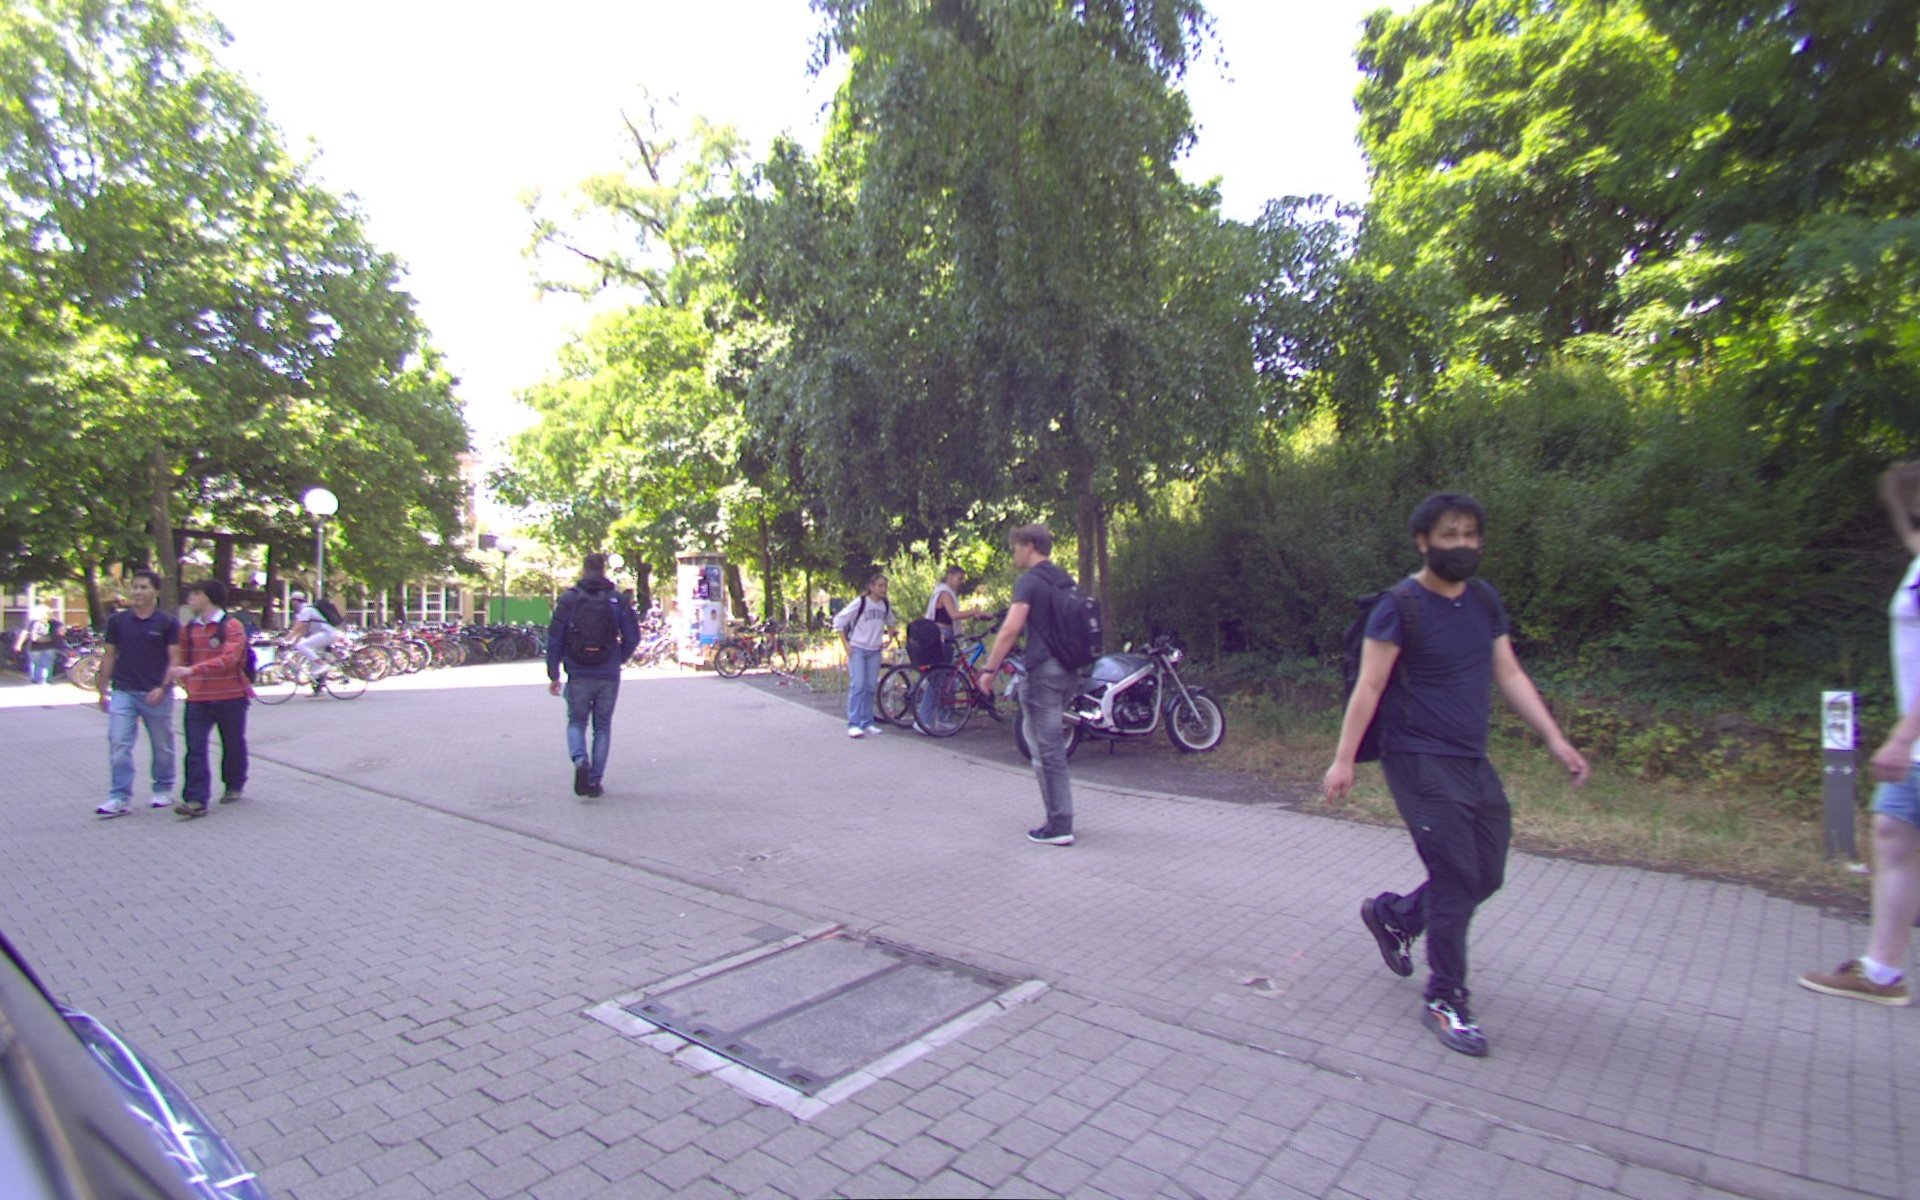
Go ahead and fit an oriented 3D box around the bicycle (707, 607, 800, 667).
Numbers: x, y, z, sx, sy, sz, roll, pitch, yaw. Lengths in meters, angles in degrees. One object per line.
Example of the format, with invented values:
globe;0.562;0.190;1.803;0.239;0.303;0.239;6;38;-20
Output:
bicycle;-4.117;0.727;20.191;1.747;1.118;0.475;-1;0;-20

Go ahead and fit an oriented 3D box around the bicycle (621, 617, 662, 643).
bicycle;-13.704;1.302;43.549;1.682;1.092;0.472;-1;0;12

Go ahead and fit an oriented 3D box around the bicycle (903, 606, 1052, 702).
bicycle;0.197;0.616;11.751;1.676;1.055;0.474;-1;0;0

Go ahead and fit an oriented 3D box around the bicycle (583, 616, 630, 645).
bicycle;-13.945;1.217;39.933;1.676;1.092;0.474;-1;0;2

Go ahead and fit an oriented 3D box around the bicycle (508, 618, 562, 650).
bicycle;-14.880;1.185;35.460;1.676;1.092;0.474;-1;0;2

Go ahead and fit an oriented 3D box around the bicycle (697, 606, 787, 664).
bicycle;-4.511;0.711;20.986;1.747;1.118;0.475;-1;0;-20

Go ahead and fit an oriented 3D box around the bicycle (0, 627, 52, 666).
bicycle;-29.256;1.437;31.220;0.496;1.170;1.764;-1;0;35

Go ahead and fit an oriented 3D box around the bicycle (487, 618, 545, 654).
bicycle;-14.388;1.164;32.815;1.676;1.092;0.474;-1;0;2

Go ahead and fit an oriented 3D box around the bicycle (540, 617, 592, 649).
bicycle;-14.222;1.198;36.523;1.676;1.092;0.474;-1;0;2

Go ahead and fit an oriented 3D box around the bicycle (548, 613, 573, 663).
bicycle;-9.443;0.882;23.956;0.466;1.118;1.851;-1;0;-19

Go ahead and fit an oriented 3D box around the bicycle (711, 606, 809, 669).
bicycle;-3.777;0.697;19.167;1.747;1.118;0.475;-1;0;-20

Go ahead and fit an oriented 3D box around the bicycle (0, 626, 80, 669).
bicycle;-25.642;1.304;28.128;1.711;1.116;0.576;-1;0;-31

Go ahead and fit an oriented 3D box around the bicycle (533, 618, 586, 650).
bicycle;-14.230;1.196;35.969;1.676;1.092;0.474;-1;0;2

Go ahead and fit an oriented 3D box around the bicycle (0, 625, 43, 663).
bicycle;-30.285;1.415;32.176;0.497;1.159;1.608;-1;0;40

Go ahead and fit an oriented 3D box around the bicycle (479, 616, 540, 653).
bicycle;-14.105;1.079;31.692;1.673;1.092;0.475;-1;0;-7

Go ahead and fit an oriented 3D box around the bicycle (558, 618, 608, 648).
bicycle;-14.186;1.230;38.113;1.676;1.092;0.474;-1;0;2

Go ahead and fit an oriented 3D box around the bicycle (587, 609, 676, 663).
bicycle;-7.114;0.769;21.965;1.750;1.118;0.475;-1;0;-6

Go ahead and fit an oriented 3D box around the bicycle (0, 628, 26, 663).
bicycle;-31.558;1.494;32.997;1.606;1.116;0.497;-1;0;-45

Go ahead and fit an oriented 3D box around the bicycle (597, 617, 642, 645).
bicycle;-13.915;1.276;41.422;1.676;1.092;0.474;-1;0;2

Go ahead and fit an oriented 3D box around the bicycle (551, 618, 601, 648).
bicycle;-14.248;1.221;37.574;1.676;1.092;0.474;-1;0;2

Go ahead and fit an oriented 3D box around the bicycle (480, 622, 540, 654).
bicycle;-14.387;1.220;32.333;1.716;0.969;0.452;-1;0;2

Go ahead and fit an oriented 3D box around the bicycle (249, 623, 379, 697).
bicycle;-10.491;0.947;16.483;0.603;1.092;1.679;-1;0;36

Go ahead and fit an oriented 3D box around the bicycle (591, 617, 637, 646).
bicycle;-13.926;1.267;40.776;1.676;1.092;0.474;-1;0;2

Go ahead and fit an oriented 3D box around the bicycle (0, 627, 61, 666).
bicycle;-28.105;1.385;30.329;1.699;1.116;0.720;-1;0;-39

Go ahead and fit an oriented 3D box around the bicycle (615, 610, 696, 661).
bicycle;-7.094;0.823;23.632;1.749;1.118;0.475;-1;0;-11

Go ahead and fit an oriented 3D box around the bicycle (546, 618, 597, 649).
bicycle;-14.216;1.209;37.011;1.676;1.092;0.474;-1;0;2

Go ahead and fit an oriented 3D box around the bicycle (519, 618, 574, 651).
bicycle;-14.195;1.179;34.764;1.676;1.092;0.474;-1;0;2

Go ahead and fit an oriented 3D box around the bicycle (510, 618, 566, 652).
bicycle;-14.251;1.165;34.171;1.676;1.092;0.474;-1;0;2

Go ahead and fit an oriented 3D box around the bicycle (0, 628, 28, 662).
bicycle;-31.898;1.502;33.442;1.606;1.116;0.506;-1;0;-45

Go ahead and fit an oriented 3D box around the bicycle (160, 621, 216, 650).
bicycle;-31.794;1.462;41.709;0.392;1.116;1.818;-1;0;34

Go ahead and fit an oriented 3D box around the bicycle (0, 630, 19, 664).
bicycle;-32.439;1.574;33.681;0.630;1.116;1.606;-1;0;44

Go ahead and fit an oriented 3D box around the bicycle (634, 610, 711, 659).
bicycle;-6.976;0.837;24.597;1.749;1.118;0.475;-1;0;-11

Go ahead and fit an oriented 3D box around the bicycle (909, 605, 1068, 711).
bicycle;0.305;0.629;11.128;1.676;1.055;0.474;-2;1;0

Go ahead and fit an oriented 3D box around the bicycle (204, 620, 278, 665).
bicycle;-20.162;1.177;28.380;1.676;1.209;0.575;-1;0;1

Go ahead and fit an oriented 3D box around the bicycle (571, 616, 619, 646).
bicycle;-14.092;1.192;39.079;1.676;1.092;0.474;-1;0;2

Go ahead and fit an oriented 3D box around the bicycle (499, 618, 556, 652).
bicycle;-14.248;1.154;33.357;1.676;1.092;0.474;-1;0;2

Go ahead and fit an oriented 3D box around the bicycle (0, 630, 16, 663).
bicycle;-32.866;1.589;34.048;1.606;1.116;0.497;-1;0;-45

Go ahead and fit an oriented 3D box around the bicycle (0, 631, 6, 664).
bicycle;-33.425;1.628;34.268;1.606;1.116;0.497;-1;0;-45

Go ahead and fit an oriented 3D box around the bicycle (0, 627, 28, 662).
bicycle;-31.039;1.445;32.496;1.606;1.116;0.691;-1;0;-45

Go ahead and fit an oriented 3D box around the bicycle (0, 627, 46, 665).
bicycle;-28.962;1.403;30.800;0.496;1.116;1.610;-1;0;35

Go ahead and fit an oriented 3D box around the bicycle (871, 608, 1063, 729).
bicycle;0.092;0.644;10.129;1.876;1.055;0.543;-2;0;-30

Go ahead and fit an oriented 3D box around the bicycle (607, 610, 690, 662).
bicycle;-7.091;0.819;23.074;1.750;1.118;0.475;-1;0;-6
